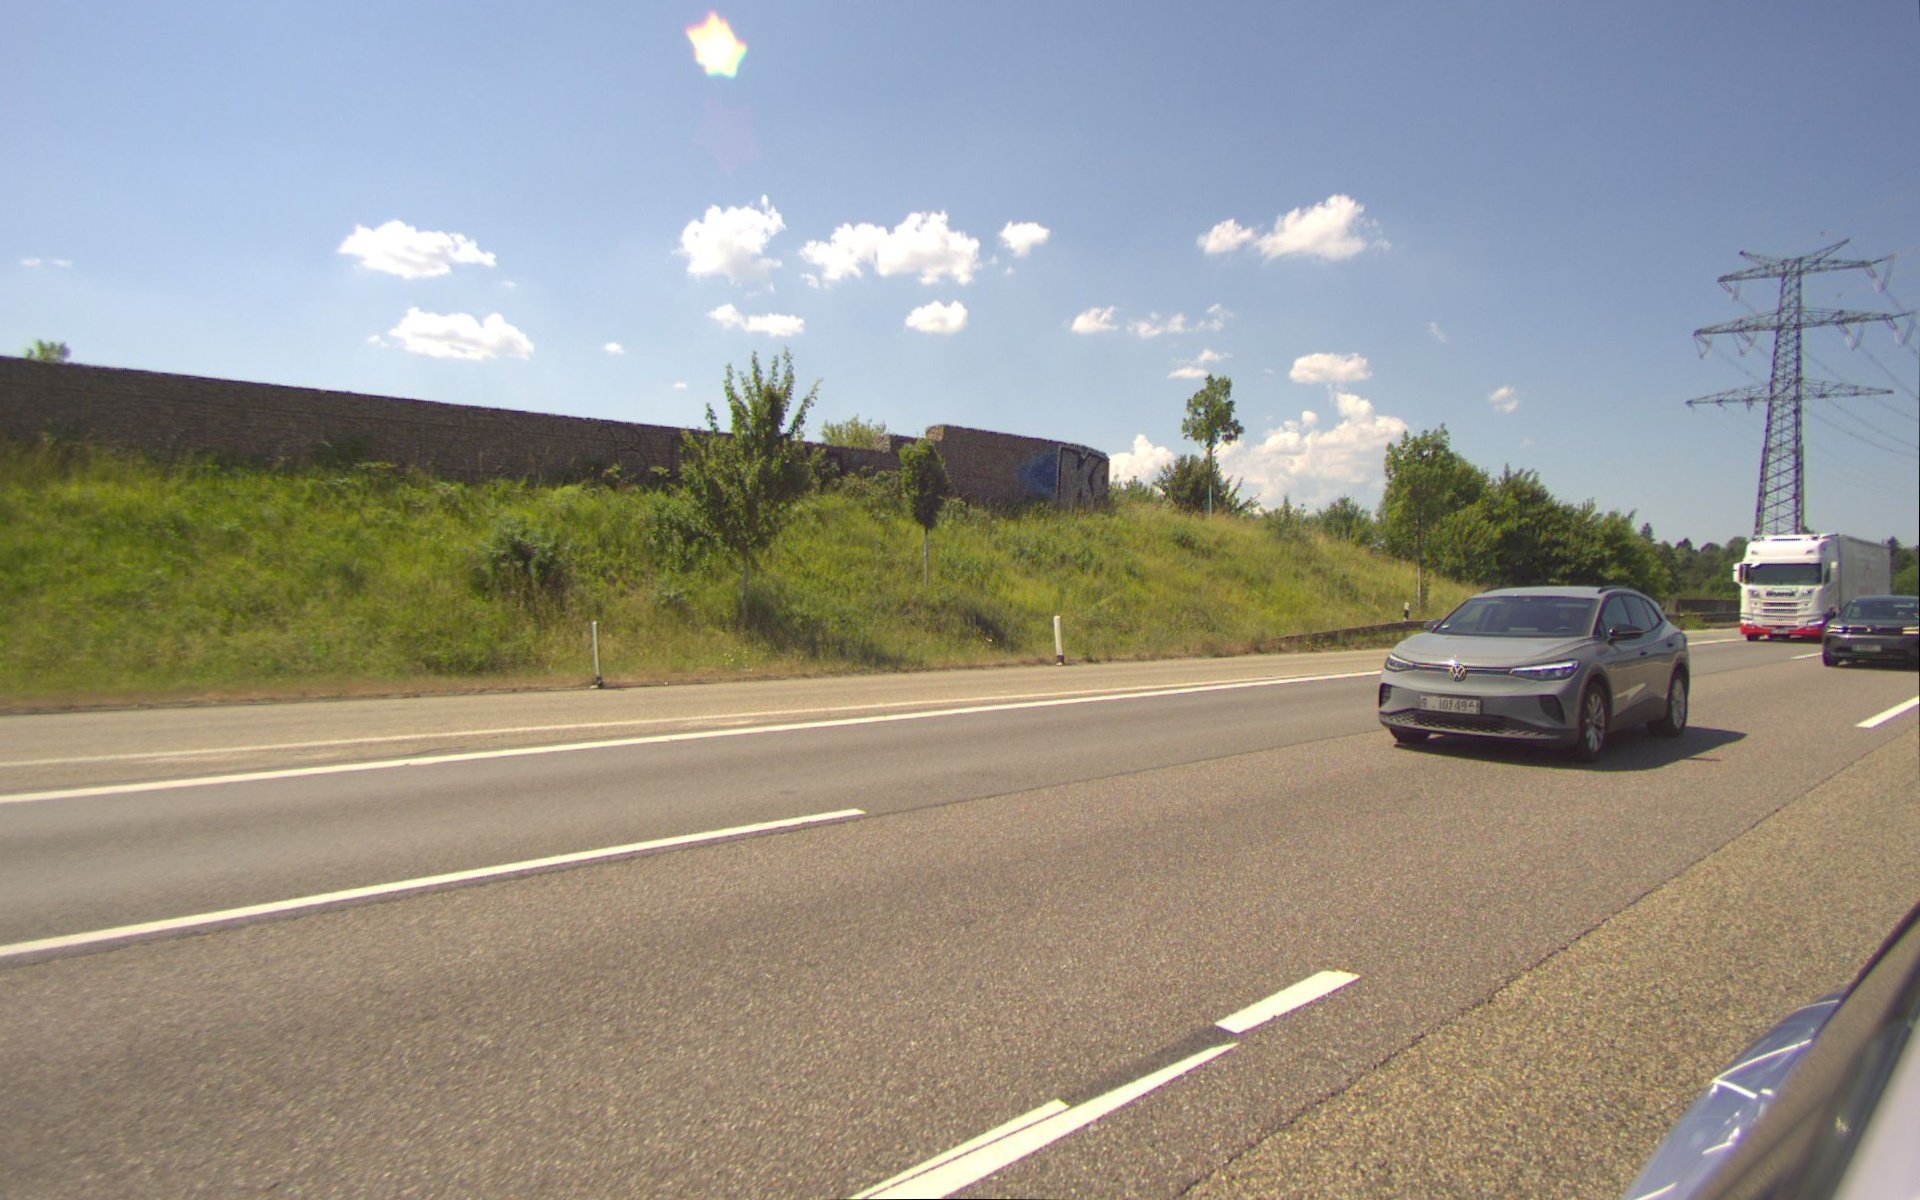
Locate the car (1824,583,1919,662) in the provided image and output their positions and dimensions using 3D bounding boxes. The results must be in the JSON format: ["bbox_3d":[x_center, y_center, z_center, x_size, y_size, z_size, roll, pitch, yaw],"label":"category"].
[{"bbox_3d":[21.319,0.474,23.004,3.975,1.667,1.954,0,0,-40],"label":"car"}]

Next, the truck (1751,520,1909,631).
[{"bbox_3d":[35.630,-0.884,41.185,12.283,3.957,3.074,0,0,-41],"label":"truck"}]

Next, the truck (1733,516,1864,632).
[{"bbox_3d":[30.413,-0.893,36.717,3.779,3.957,3.074,0,0,-40],"label":"truck"}]

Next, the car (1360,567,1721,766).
[{"bbox_3d":[6.211,0.541,10.600,4.504,1.657,1.872,0,0,-40],"label":"car"}]
